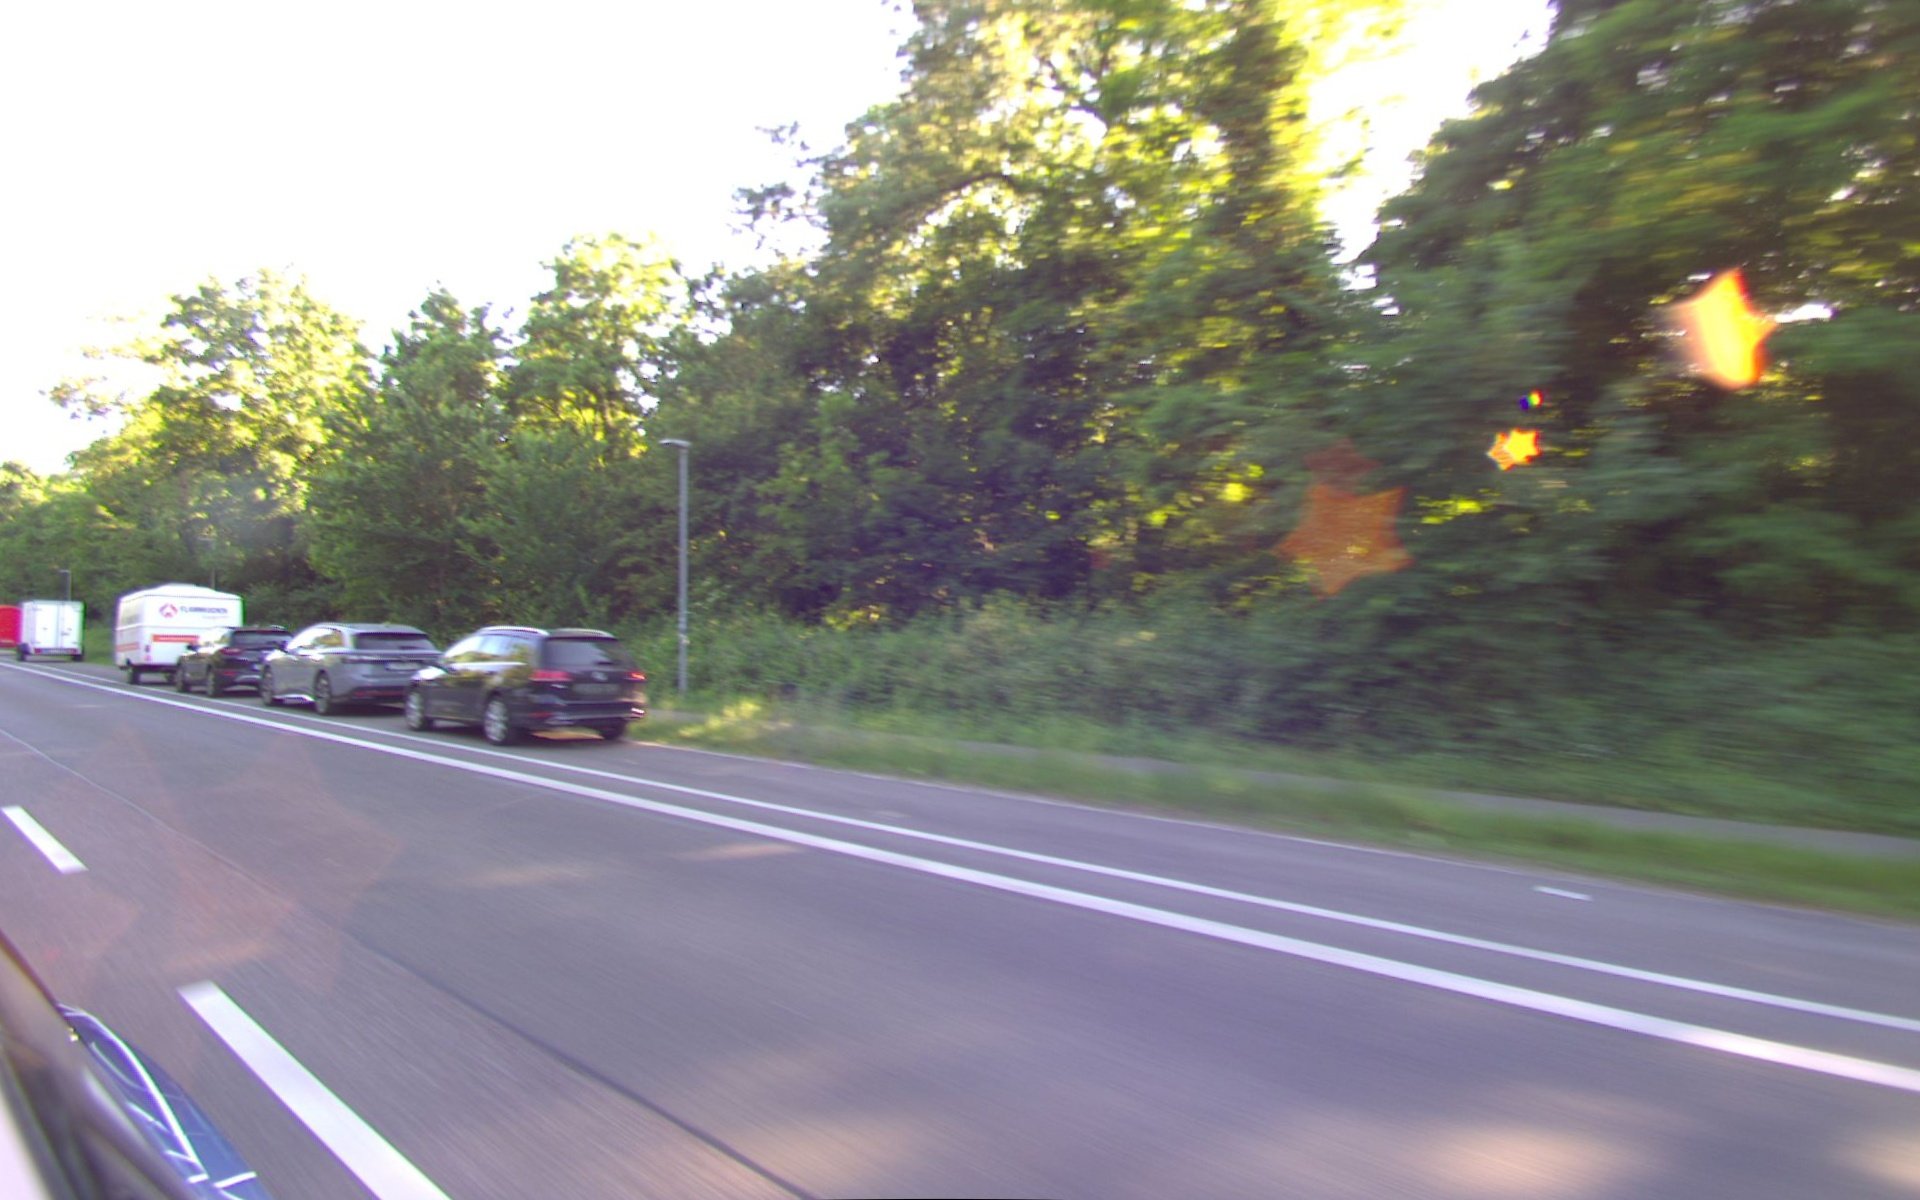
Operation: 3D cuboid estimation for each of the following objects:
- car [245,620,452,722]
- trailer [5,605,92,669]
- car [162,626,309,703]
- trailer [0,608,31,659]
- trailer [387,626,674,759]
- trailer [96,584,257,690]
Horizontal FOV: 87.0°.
[{"bbox_3d":[-11.100,1.205,18.191,5.125,1.586,1.653,-1,-4,42],"label":"car"},{"bbox_3d":[-37.183,1.491,41.276,3.556,2.499,2.046,-1,-2,38],"label":"trailer"},{"bbox_3d":[-15.952,1.371,22.214,4.192,1.506,1.653,-1,-4,42],"label":"car"},{"bbox_3d":[-48.491,1.666,50.900,3.556,2.499,2.046,-1,-2,38],"label":"trailer"},{"bbox_3d":[-5.906,1.106,13.655,4.464,1.477,1.822,-1,-1,41],"label":"trailer"},{"bbox_3d":[-20.565,0.943,26.523,4.338,2.548,2.323,-1,-2,38],"label":"trailer"}]
